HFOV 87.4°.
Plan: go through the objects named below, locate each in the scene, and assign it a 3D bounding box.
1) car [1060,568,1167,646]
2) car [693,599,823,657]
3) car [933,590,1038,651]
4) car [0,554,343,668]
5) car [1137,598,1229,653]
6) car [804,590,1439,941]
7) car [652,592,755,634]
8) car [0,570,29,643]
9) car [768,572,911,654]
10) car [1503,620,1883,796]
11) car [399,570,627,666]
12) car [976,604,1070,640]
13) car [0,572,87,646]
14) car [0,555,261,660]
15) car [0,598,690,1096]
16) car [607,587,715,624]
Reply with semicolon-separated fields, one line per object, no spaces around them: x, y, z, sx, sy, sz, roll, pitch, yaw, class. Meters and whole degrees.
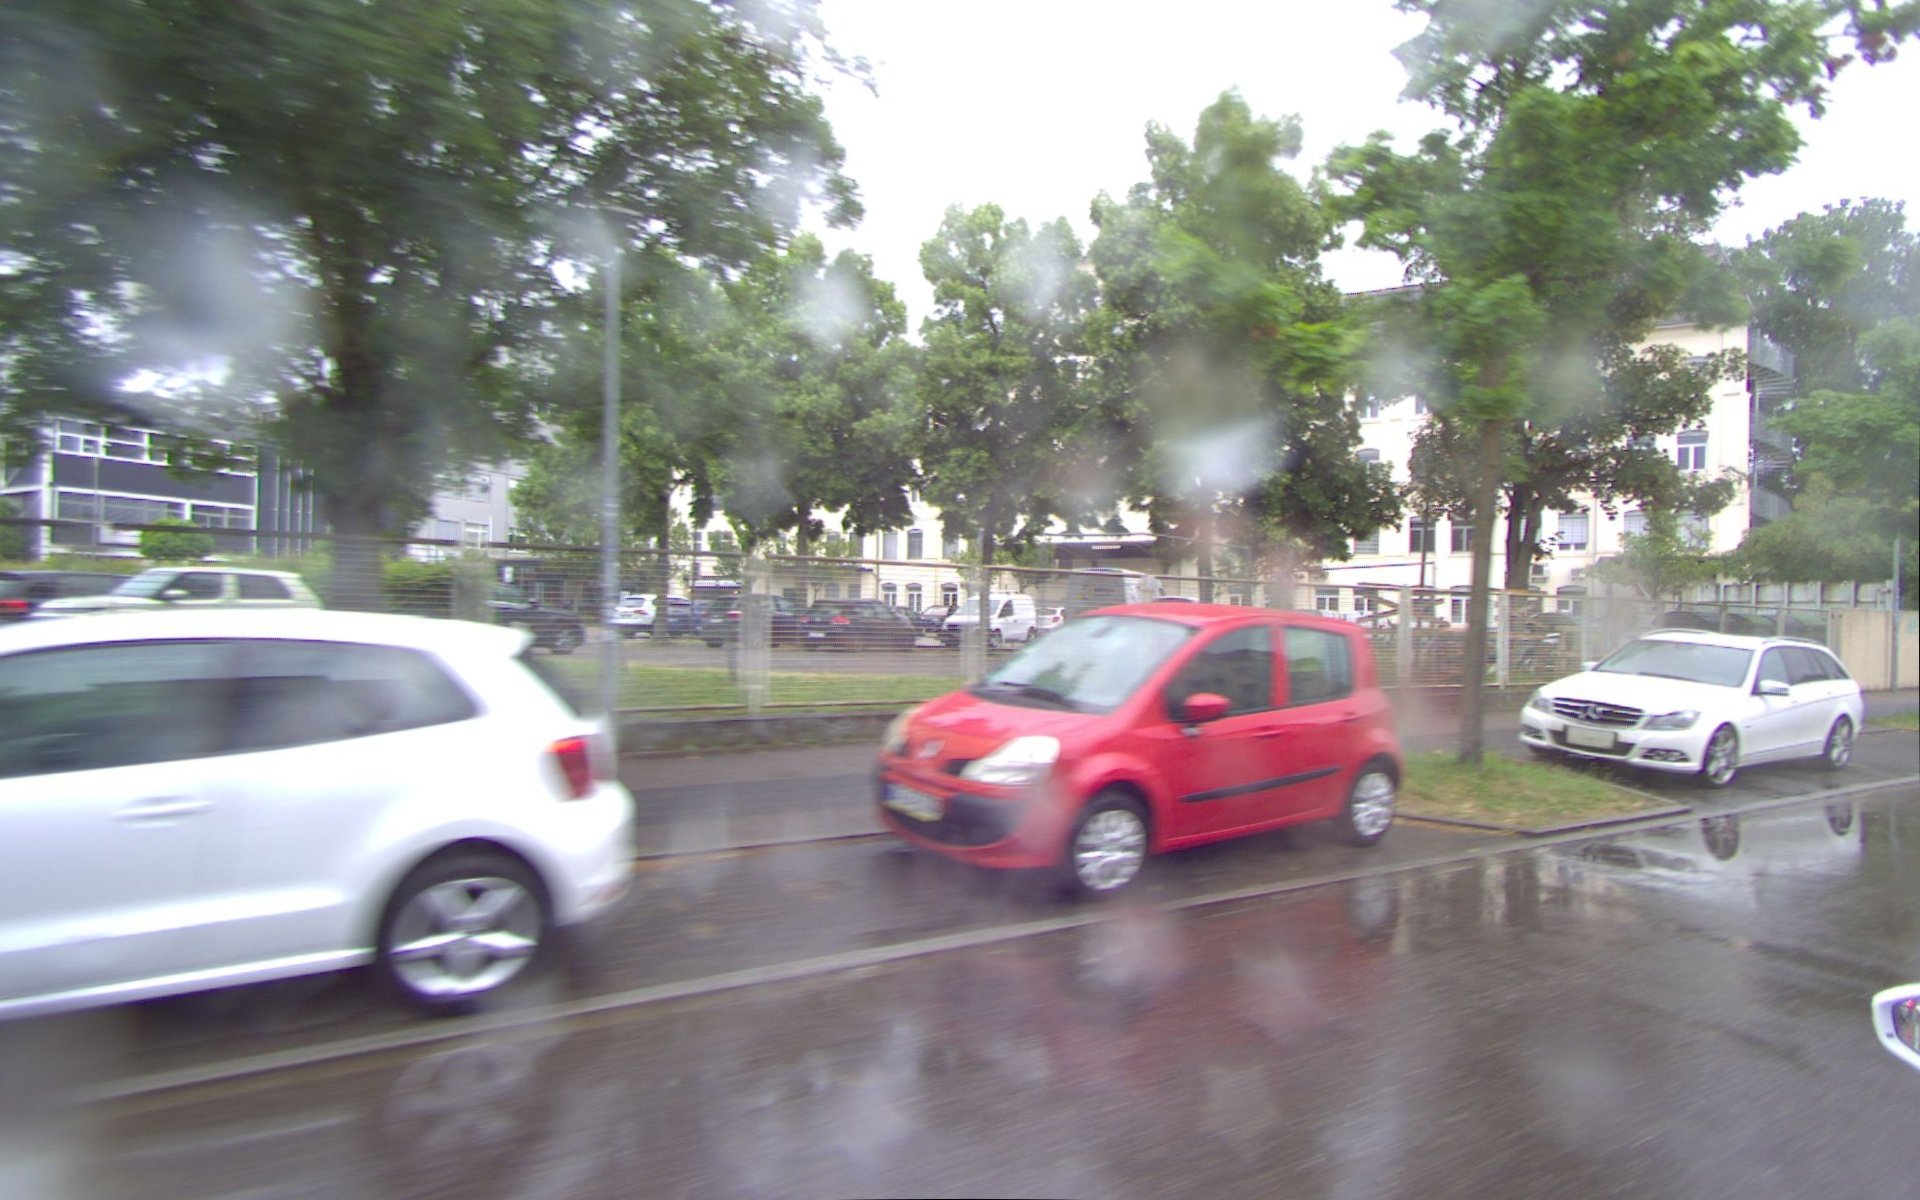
4.706;0.230;30.339;1.963;2.150;3.995;2;0;28;car
-5.864;0.780;29.555;1.963;1.529;3.544;2;1;27;car
0.906;0.671;33.081;1.899;1.809;3.996;2;0;26;car
-12.565;0.211;16.284;1.815;1.593;3.998;2;-1;24;car
6.554;0.720;29.255;1.679;1.453;3.644;2;0;28;car
1.238;0.824;6.544;4.162;1.619;1.613;2;0;-36;car
-9.808;0.512;38.691;1.736;1.489;3.772;2;0;28;car
-22.749;0.105;21.381;1.895;1.621;3.861;1;-1;24;car
-3.198;0.347;27.437;1.963;2.040;3.995;2;0;27;car
8.137;1.066;11.035;4.546;1.549;1.759;2;0;-31;car
-9.190;0.359;21.001;1.963;1.777;3.995;2;0;27;car
2.836;0.958;44.797;3.919;1.567;2.001;0;0;14;car
-20.642;0.161;20.458;1.828;1.516;3.915;1;-1;22;car
-14.647;0.168;17.146;1.961;1.578;4.000;1;-2;21;car
-3.283;0.752;3.760;4.121;1.480;1.654;2;0;-28;car
-11.926;0.248;40.279;1.740;1.394;3.992;2;-1;31;car
